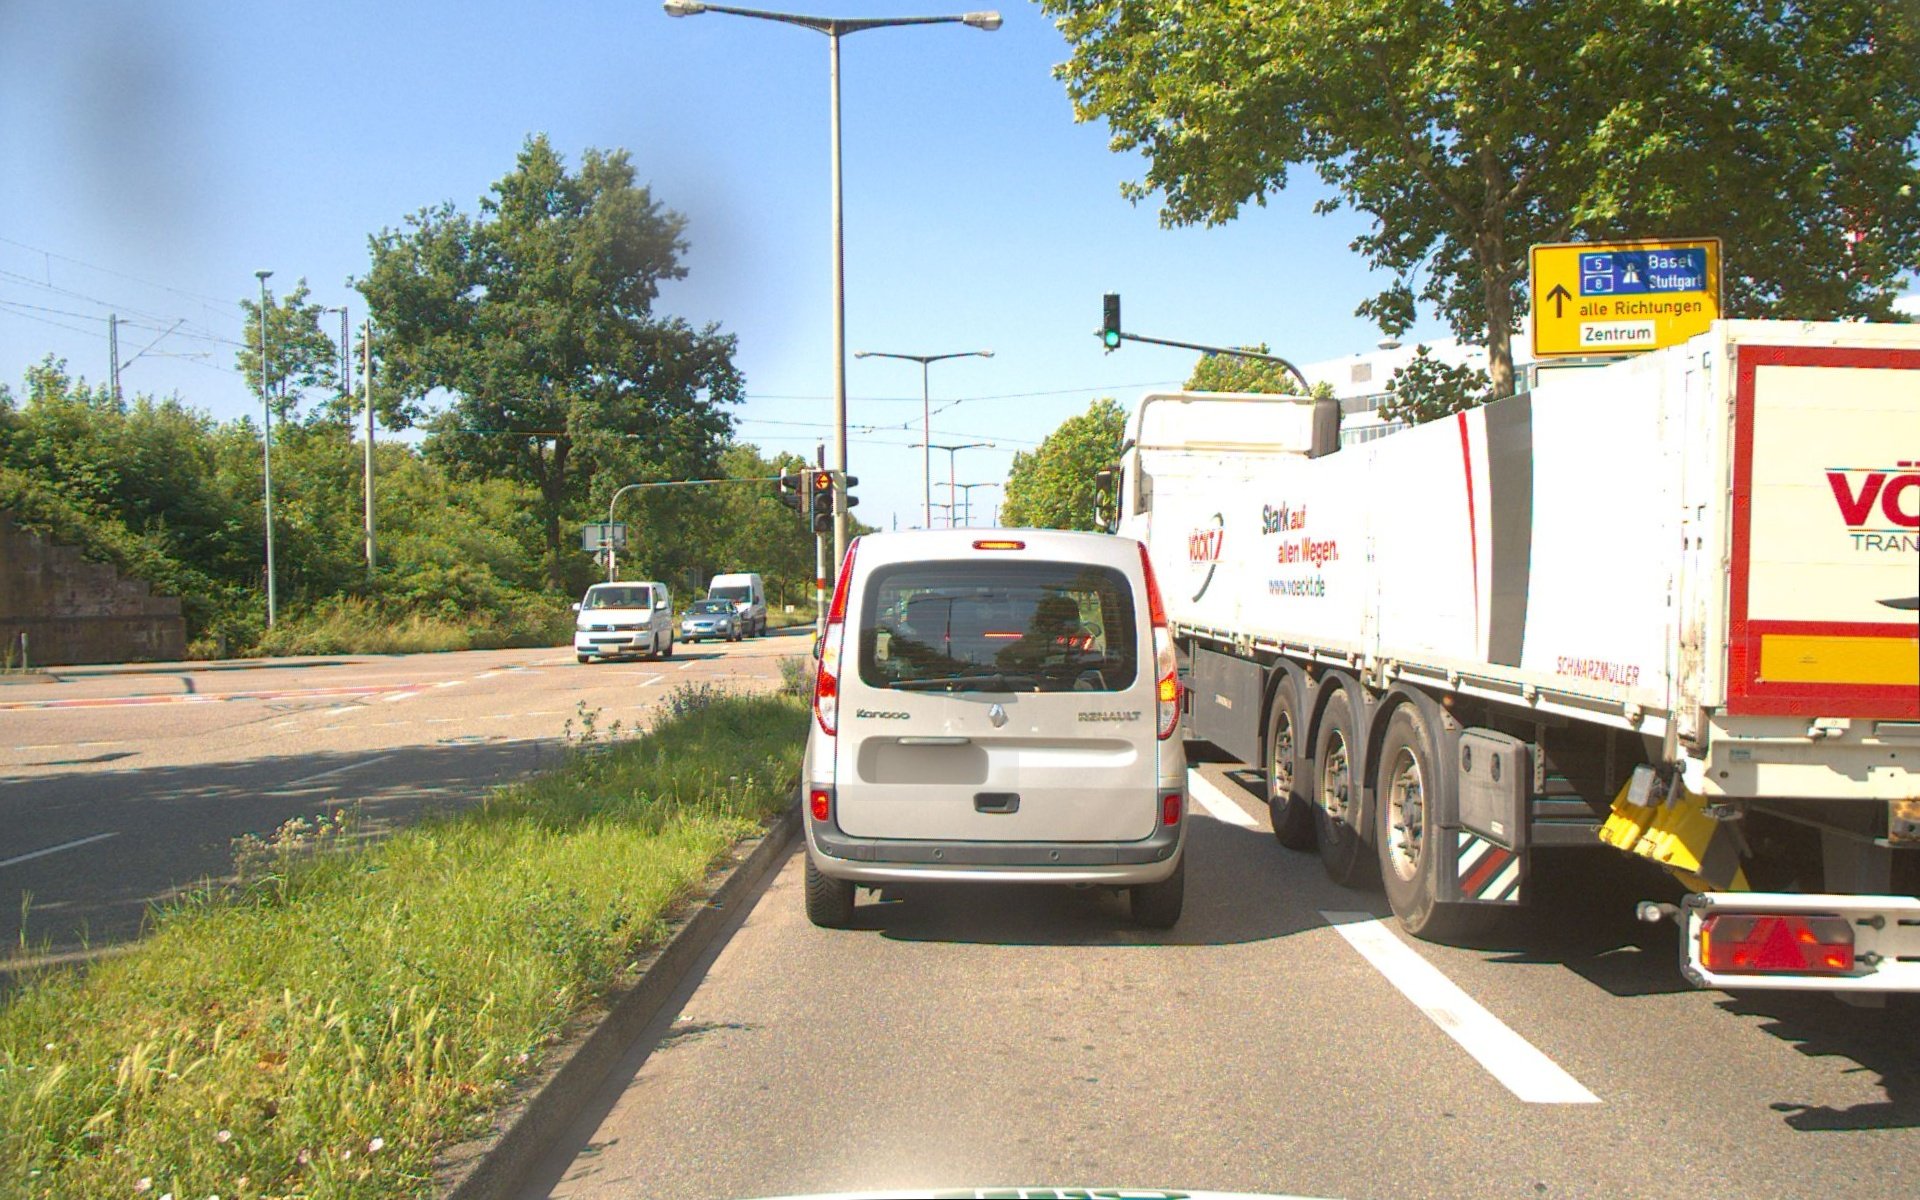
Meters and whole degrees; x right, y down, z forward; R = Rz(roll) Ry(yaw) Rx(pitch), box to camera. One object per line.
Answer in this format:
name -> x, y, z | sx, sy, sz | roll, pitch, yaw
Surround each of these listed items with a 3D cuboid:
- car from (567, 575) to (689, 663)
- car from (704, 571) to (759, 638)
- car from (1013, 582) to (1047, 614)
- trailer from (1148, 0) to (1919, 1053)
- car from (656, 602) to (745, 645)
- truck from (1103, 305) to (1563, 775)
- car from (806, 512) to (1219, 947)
car -> -8.060, 0.442, 40.627 | 1.953, 1.924, 4.987 | -3, 0, -1
car -> -9.479, 0.193, 68.966 | 2.019, 2.660, 5.862 | 0, 0, -6
car -> 4.530, -0.134, 107.438 | 1.953, 2.049, 3.999 | 0, 0, -1
trailer -> 3.322, -0.752, 10.290 | 2.954, 3.806, 12.239 | 0, 0, 0
car -> -9.041, 0.787, 57.376 | 1.888, 1.433, 4.191 | 0, 0, -27
truck -> 3.370, -0.480, 17.213 | 3.009, 3.823, 7.474 | 0, 0, -1
car -> 0.208, 0.540, 8.846 | 1.713, 1.803, 3.949 | 0, 0, 0
